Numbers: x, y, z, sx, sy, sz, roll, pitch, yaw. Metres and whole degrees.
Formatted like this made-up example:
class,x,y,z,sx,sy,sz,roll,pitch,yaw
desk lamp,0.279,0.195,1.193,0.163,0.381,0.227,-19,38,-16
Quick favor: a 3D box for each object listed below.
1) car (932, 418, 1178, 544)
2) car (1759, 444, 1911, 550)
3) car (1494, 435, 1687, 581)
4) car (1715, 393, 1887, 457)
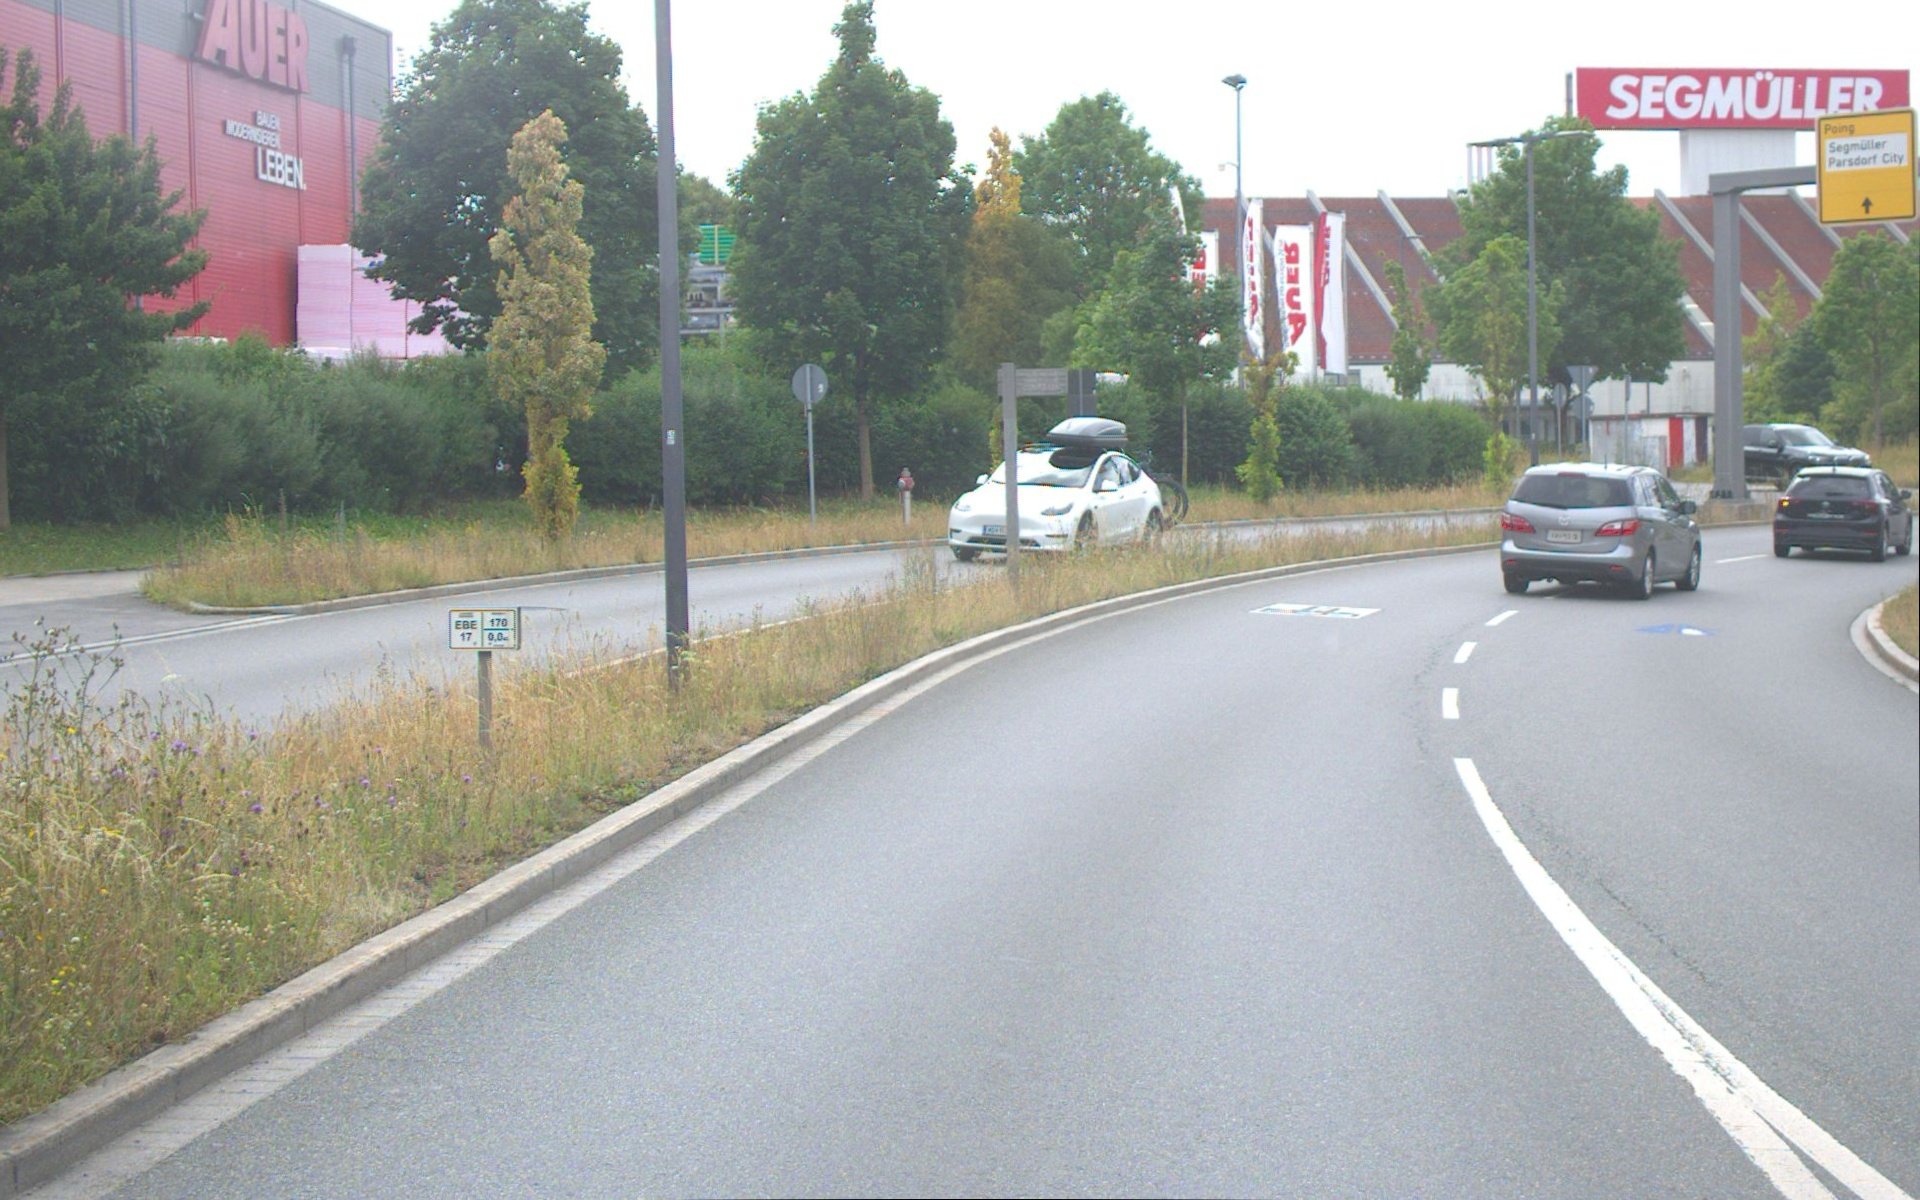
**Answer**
class,x,y,z,sx,sy,sz,roll,pitch,yaw
car,1.417,-1.719,48.985,1.911,1.620,4.632,4,4,22
car,13.847,-1.628,54.303,1.871,1.599,3.731,0,2,22
car,7.803,-1.131,42.304,1.769,1.611,3.918,4,3,17
car,20.911,-4.378,85.635,1.867,1.544,4.257,-1,4,-26
